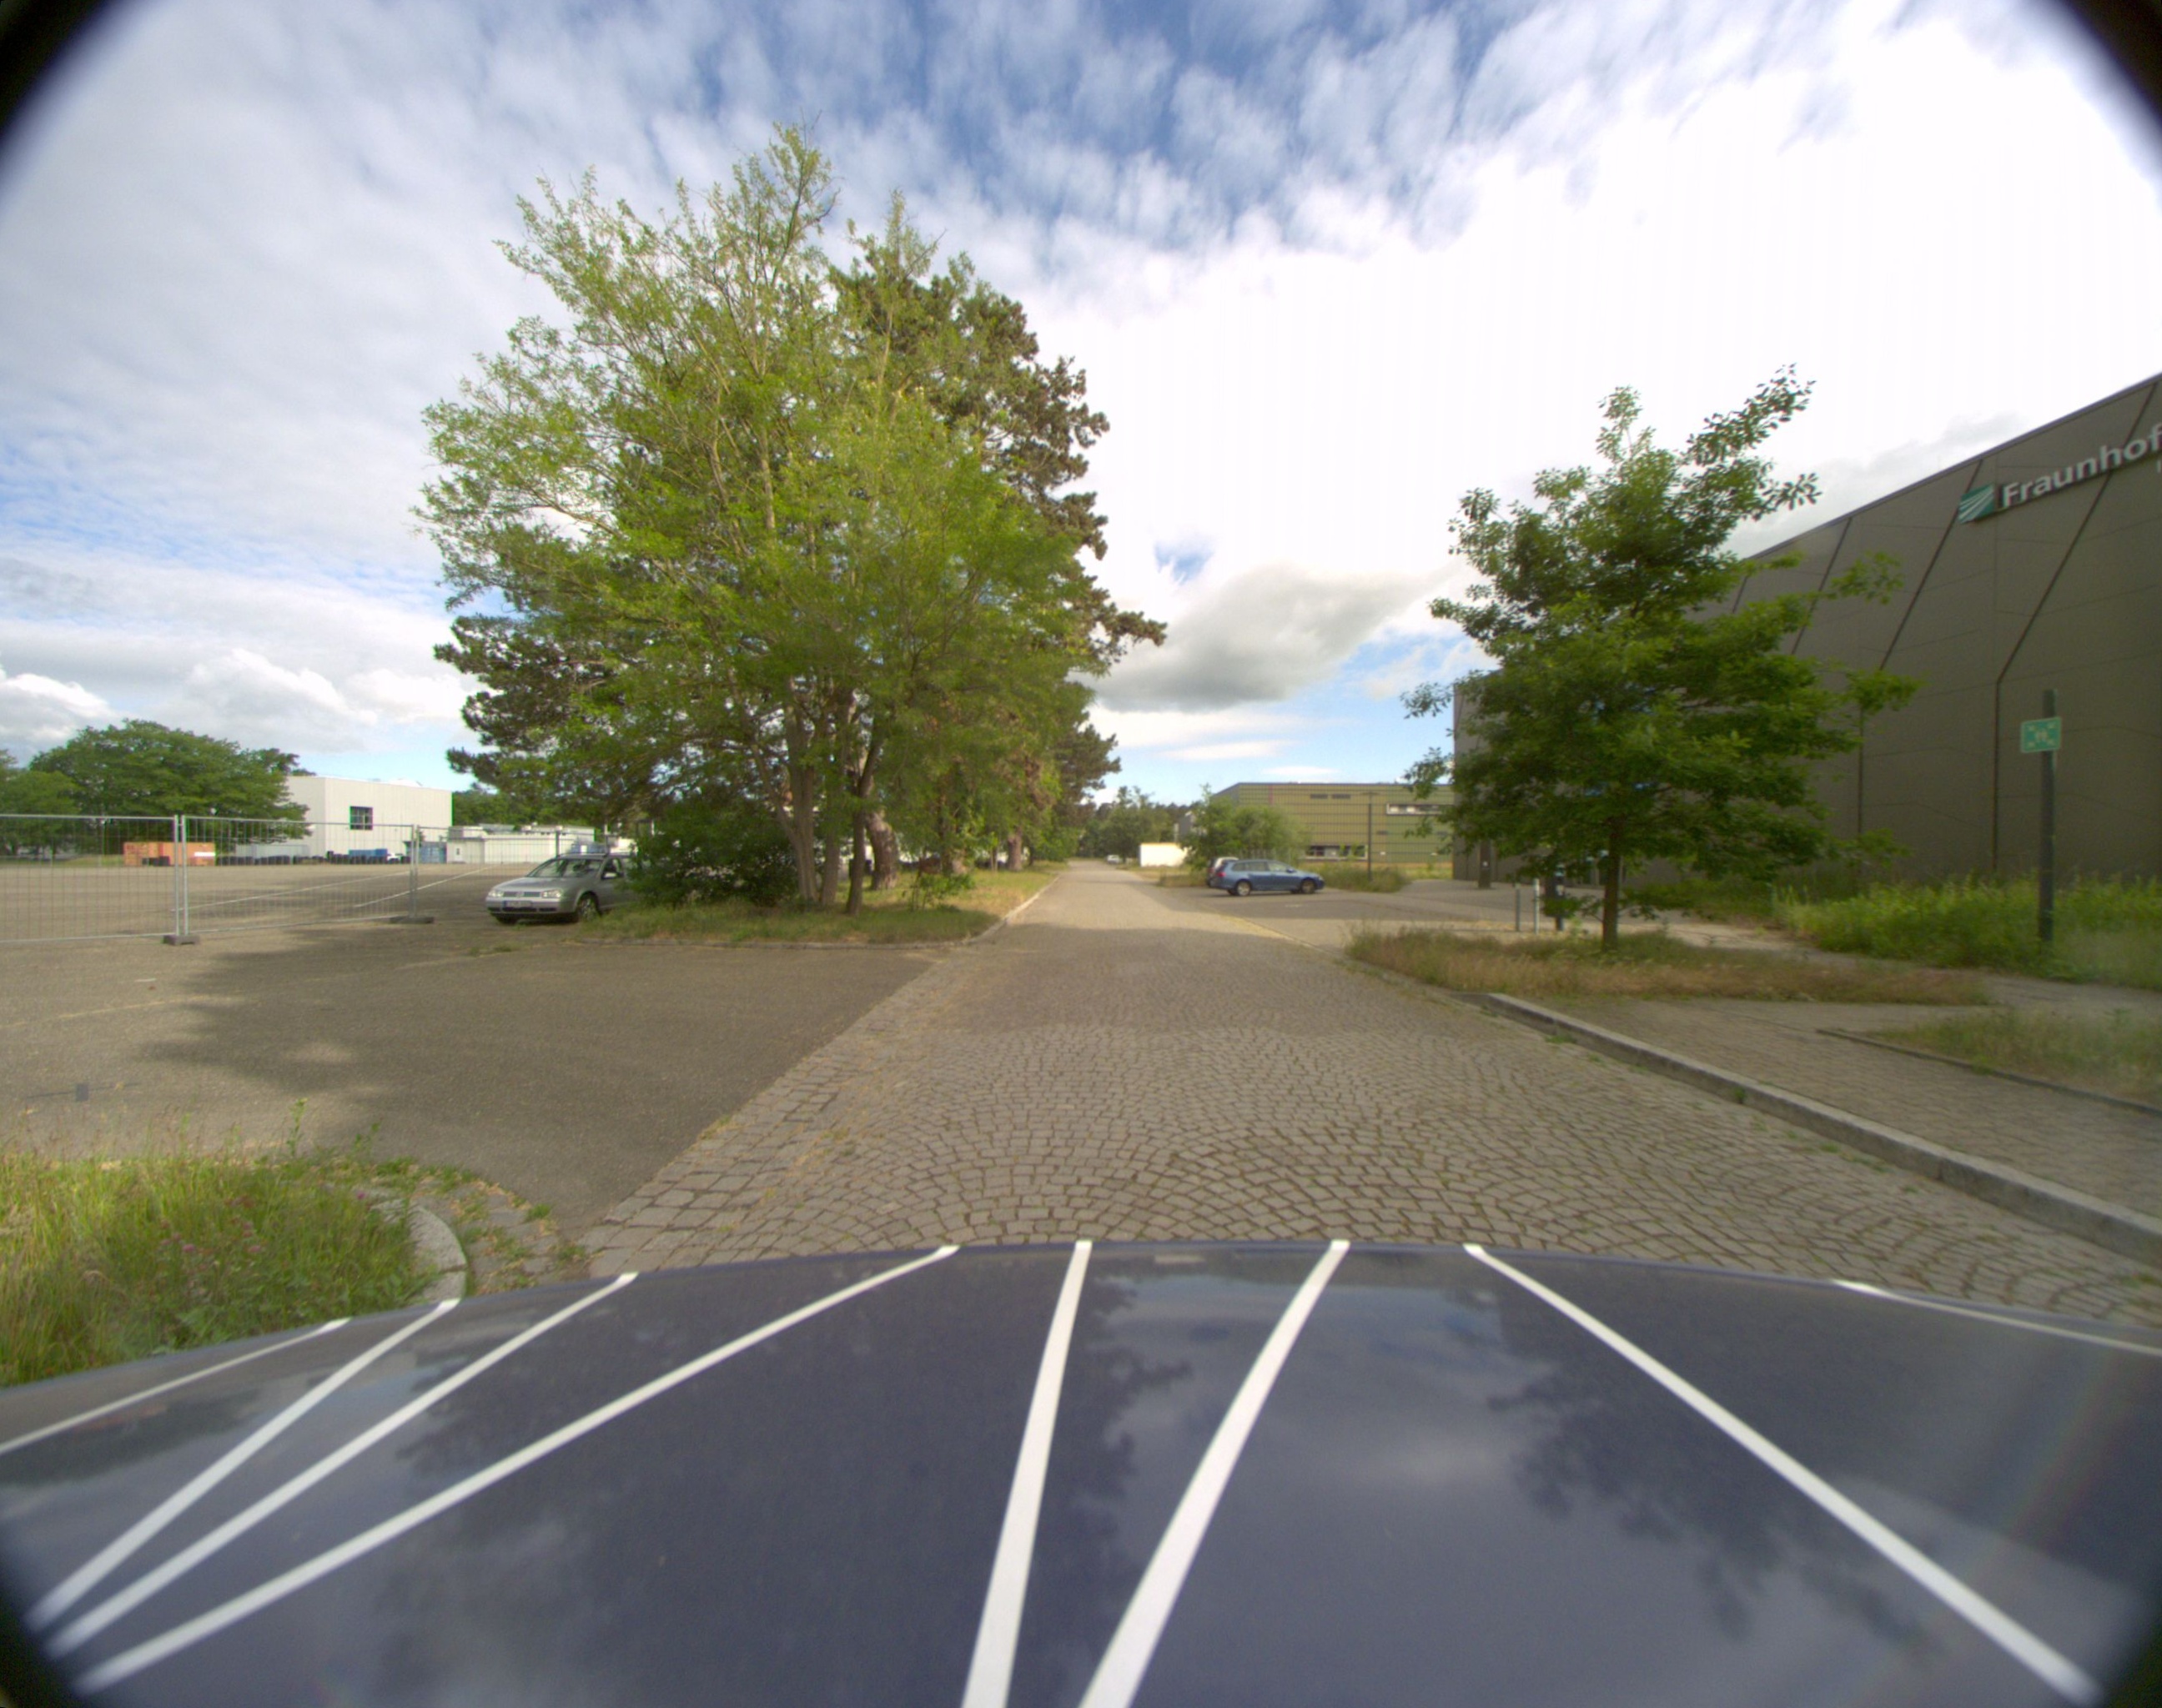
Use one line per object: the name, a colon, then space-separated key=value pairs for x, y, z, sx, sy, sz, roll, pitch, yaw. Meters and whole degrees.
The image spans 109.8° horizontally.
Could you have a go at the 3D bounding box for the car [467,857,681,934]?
car: x=-10.908 y=0.815 z=16.791 sx=1.759 sy=1.440 sz=4.327 roll=0 pitch=0 yaw=1

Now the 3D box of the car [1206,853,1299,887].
car: x=8.621 y=0.808 z=38.518 sx=4.401 sy=1.537 sz=1.842 roll=-2 pitch=0 yaw=7

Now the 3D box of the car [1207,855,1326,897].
car: x=7.585 y=0.862 z=31.243 sx=4.404 sy=1.501 sz=1.716 roll=-2 pitch=1 yaw=-3
